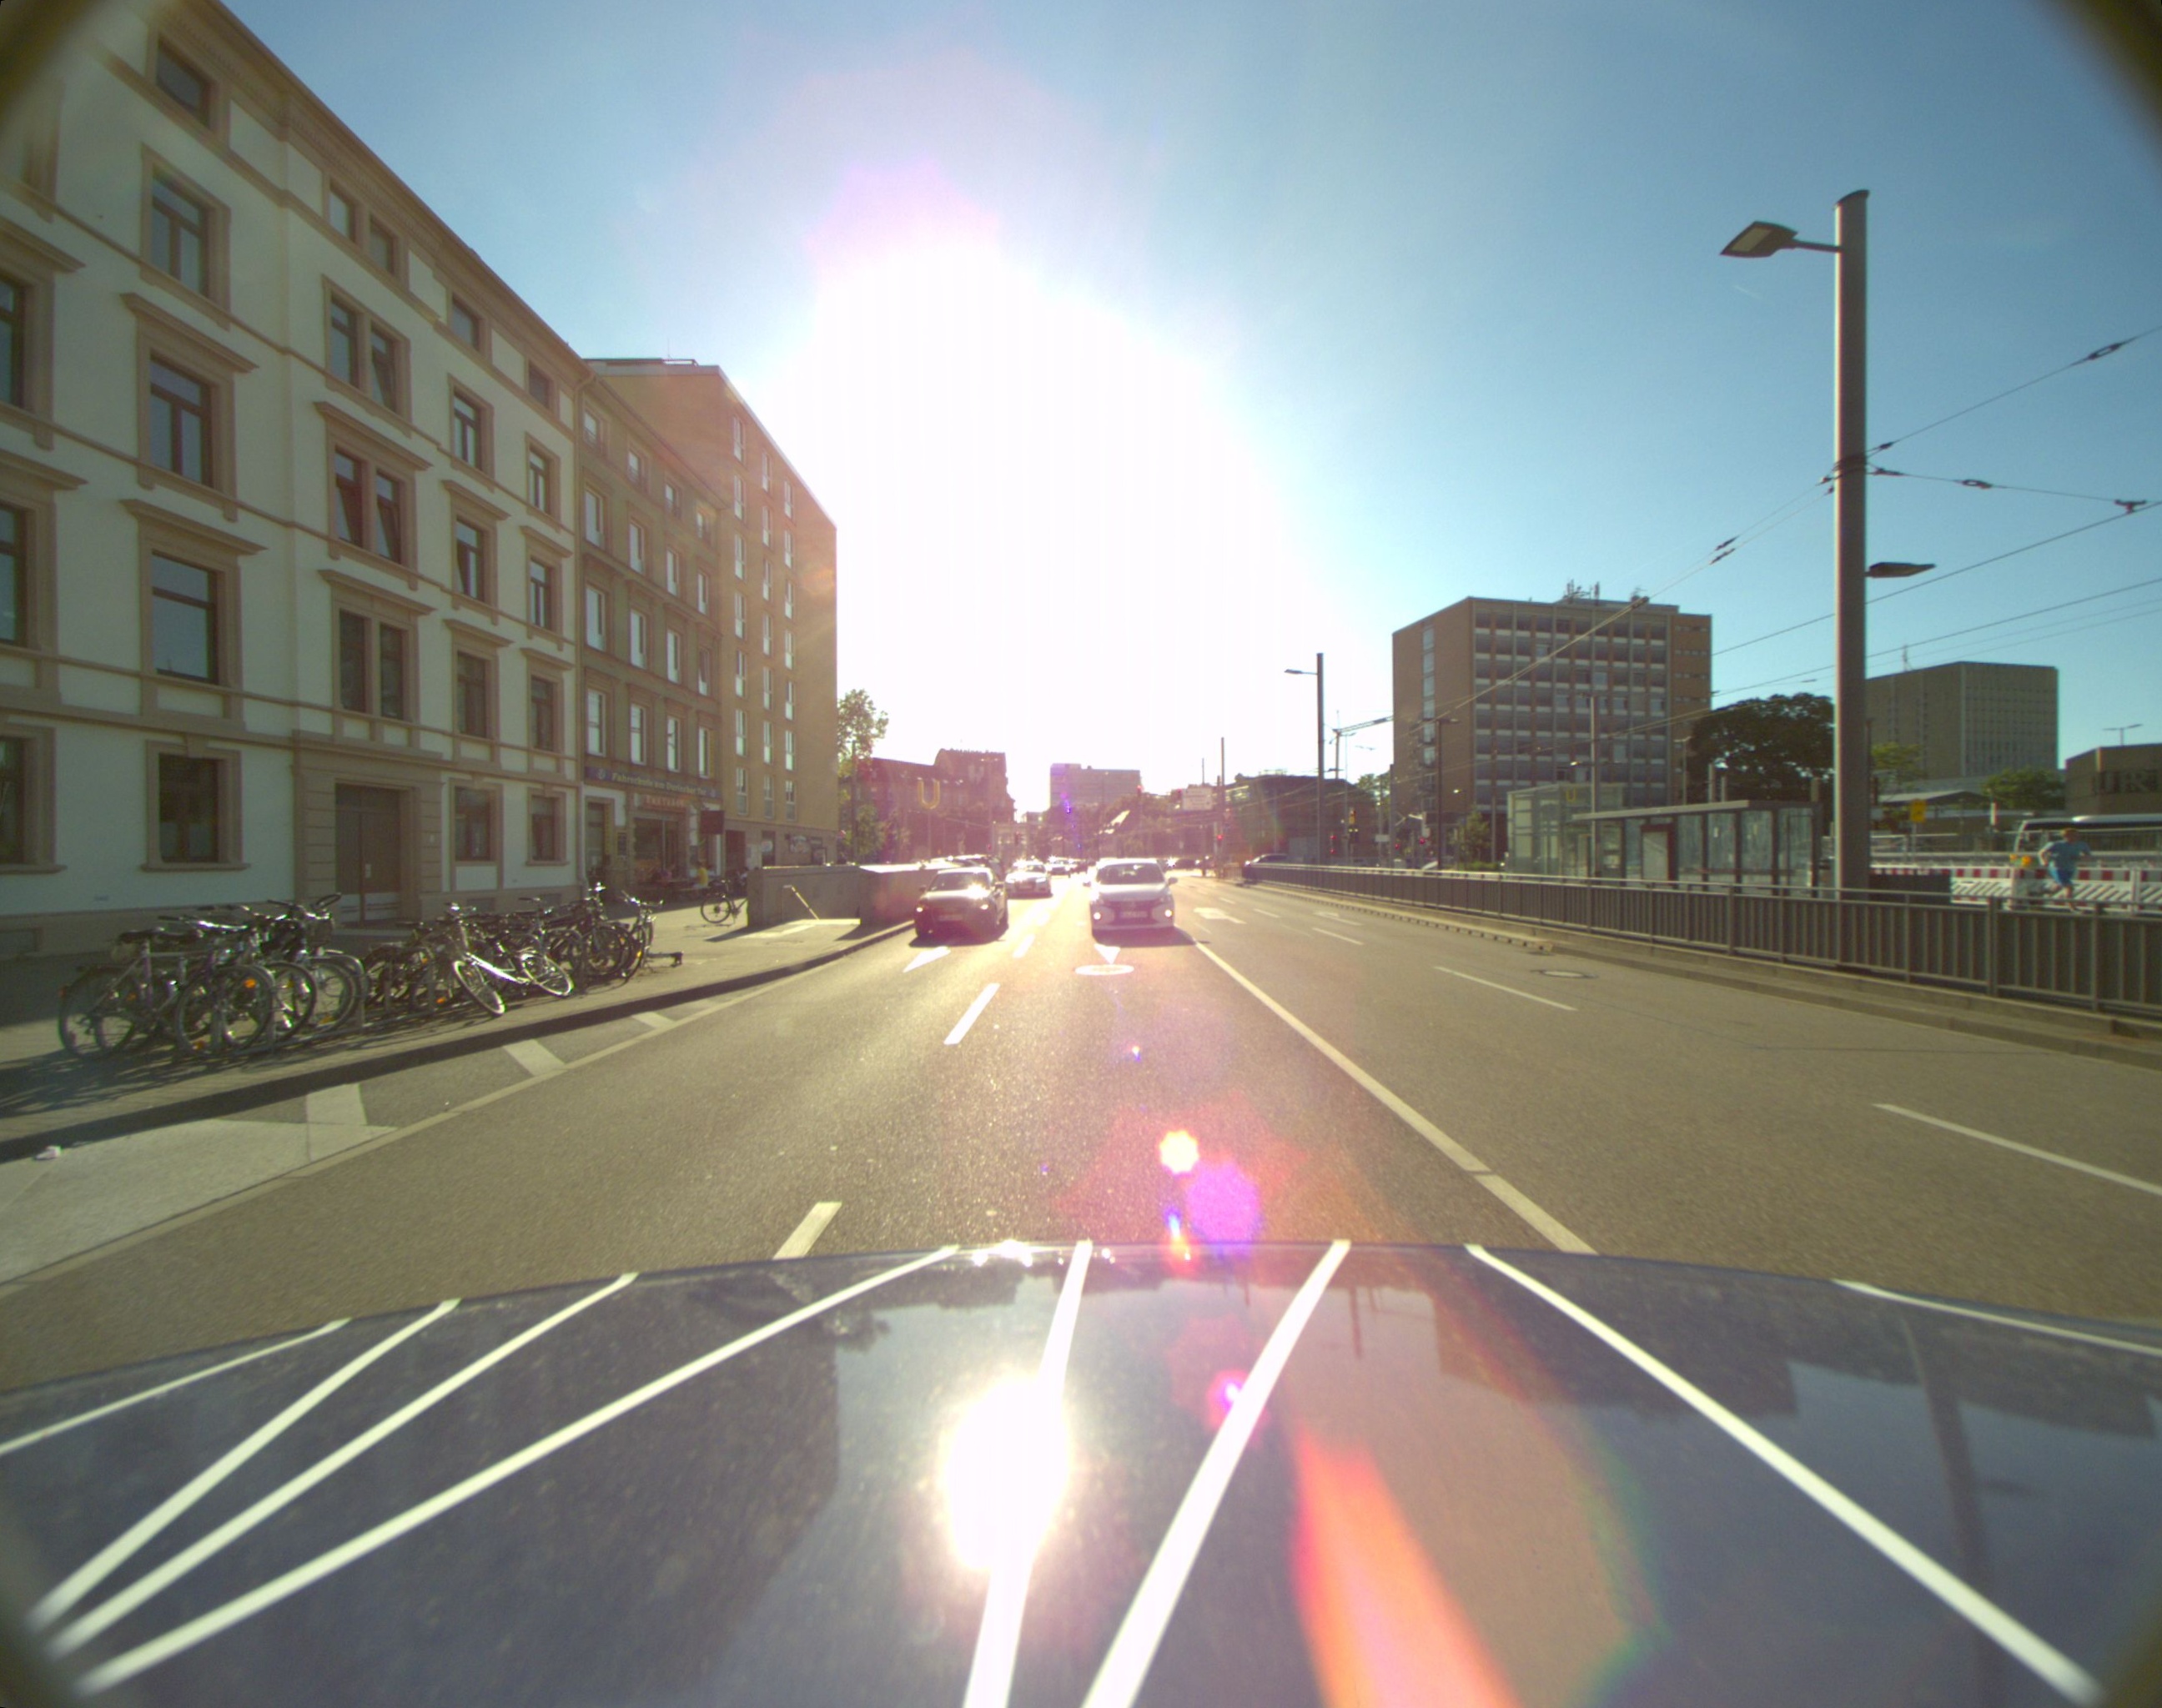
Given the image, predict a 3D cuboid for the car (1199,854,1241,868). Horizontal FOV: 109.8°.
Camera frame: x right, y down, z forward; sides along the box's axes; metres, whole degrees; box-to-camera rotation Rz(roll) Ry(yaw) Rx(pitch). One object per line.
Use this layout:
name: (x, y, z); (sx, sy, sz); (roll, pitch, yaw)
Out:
car: (17.025, 0.897, 92.945); (4.696, 1.673, 2.004); (0, -3, 21)

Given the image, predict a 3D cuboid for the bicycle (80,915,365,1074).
bicycle: (-6.976, 1.127, 6.211); (1.796, 1.180, 0.470); (-1, 0, 1)

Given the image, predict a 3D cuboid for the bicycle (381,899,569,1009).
bicycle: (-6.945, 1.135, 8.738); (1.769, 1.180, 0.470); (-1, 0, 1)

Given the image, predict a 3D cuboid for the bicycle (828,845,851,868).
bicycle: (-13.955, 0.134, 43.934); (0.659, 1.241, 2.298); (1, 0, -2)

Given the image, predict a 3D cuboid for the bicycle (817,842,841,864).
bicycle: (-14.793, -0.058, 44.695); (0.659, 1.241, 2.298); (1, 0, -1)

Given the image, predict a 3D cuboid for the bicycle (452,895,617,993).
bicycle: (-6.979, 1.144, 9.737); (1.769, 1.171, 0.470); (-1, 0, 1)

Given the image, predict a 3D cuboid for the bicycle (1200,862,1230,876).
bicycle: (9.452, 1.065, 53.681); (1.894, 0.936, 0.815); (1, 1, -4)

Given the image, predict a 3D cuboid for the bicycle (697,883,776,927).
bicycle: (-8.788, 1.293, 19.400); (1.773, 1.083, 0.469); (2, -2, -28)

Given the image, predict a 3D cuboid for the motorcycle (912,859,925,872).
motorcycle: (-14.196, 1.004, 66.307); (1.041, 1.067, 2.279); (1, 0, -14)

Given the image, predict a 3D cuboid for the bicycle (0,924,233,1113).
bicycle: (-6.970, 1.105, 5.213); (1.769, 1.180, 0.470); (-1, 0, 1)

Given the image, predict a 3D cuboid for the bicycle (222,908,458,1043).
bicycle: (-6.998, 1.131, 7.209); (1.769, 1.180, 0.470); (-1, 0, 1)

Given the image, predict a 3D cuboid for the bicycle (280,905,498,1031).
bicycle: (-6.991, 1.140, 7.711); (1.769, 1.180, 0.470); (-1, 0, 1)

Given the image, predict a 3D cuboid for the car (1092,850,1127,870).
car: (2.438, 0.486, 63.679); (1.996, 1.666, 4.288); (-1, 0, 16)

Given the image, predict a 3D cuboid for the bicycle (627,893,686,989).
bicycle: (-5.823, 1.144, 10.483); (0.470, 1.140, 1.768); (-1, -1, -22)

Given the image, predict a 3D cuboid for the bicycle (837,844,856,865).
bicycle: (-14.548, 0.011, 47.118); (0.659, 1.241, 1.900); (1, 0, -2)

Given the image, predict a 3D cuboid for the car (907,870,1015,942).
car: (-2.613, 1.098, 17.358); (1.694, 1.380, 3.833); (-2, -1, 2)

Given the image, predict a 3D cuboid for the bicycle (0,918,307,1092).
bicycle: (-6.946, 1.108, 5.708); (1.769, 1.180, 0.470); (-1, 0, 1)

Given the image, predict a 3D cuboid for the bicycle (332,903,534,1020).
bicycle: (-6.988, 1.146, 8.231); (1.769, 1.180, 0.470); (-1, 0, 1)

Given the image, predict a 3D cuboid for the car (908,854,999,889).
car: (-6.580, 0.888, 39.455); (4.259, 1.588, 1.955); (-2, 0, -42)

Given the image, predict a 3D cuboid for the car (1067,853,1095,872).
car: (0.033, 0.802, 71.704); (1.997, 1.673, 4.005); (0, -3, 10)

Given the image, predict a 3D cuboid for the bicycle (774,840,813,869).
bicycle: (-14.413, 0.031, 38.190); (0.932, 1.348, 2.231); (0, -2, 4)

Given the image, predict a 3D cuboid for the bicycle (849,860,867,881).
bicycle: (-13.828, 1.017, 47.164); (0.659, 1.241, 1.900); (1, 0, -2)

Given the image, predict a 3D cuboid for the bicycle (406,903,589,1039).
bicycle: (-5.863, 1.117, 7.770); (0.470, 1.140, 1.771); (-1, -1, 1)

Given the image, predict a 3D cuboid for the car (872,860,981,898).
car: (-6.581, 1.012, 32.610); (4.121, 1.455, 1.956); (-1, 0, -41)

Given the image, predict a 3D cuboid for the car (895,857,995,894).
car: (-6.454, 0.994, 36.272); (4.259, 1.561, 1.955); (-2, 0, -43)

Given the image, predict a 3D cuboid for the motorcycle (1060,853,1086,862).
motorcycle: (-1.089, 0.514, 102.788); (3.225, 1.187, 1.120); (0, -2, 22)

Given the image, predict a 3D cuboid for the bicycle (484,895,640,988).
bicycle: (-6.968, 1.165, 10.239); (1.769, 1.171, 0.470); (-1, 0, 1)

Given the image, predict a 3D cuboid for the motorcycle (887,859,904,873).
motorcycle: (-14.565, 0.957, 59.740); (0.880, 1.040, 1.803); (1, 1, -1)

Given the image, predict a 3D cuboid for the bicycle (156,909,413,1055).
bicycle: (-6.988, 1.106, 6.702); (1.769, 1.180, 0.470); (-1, 0, 1)

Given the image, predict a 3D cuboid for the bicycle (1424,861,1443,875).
bicycle: (27.307, 1.053, 58.901); (0.814, 0.936, 2.003); (-6, 0, 10)

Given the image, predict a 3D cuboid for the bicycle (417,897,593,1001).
bicycle: (-6.973, 1.141, 9.238); (1.769, 1.180, 0.470); (-1, 0, 1)
